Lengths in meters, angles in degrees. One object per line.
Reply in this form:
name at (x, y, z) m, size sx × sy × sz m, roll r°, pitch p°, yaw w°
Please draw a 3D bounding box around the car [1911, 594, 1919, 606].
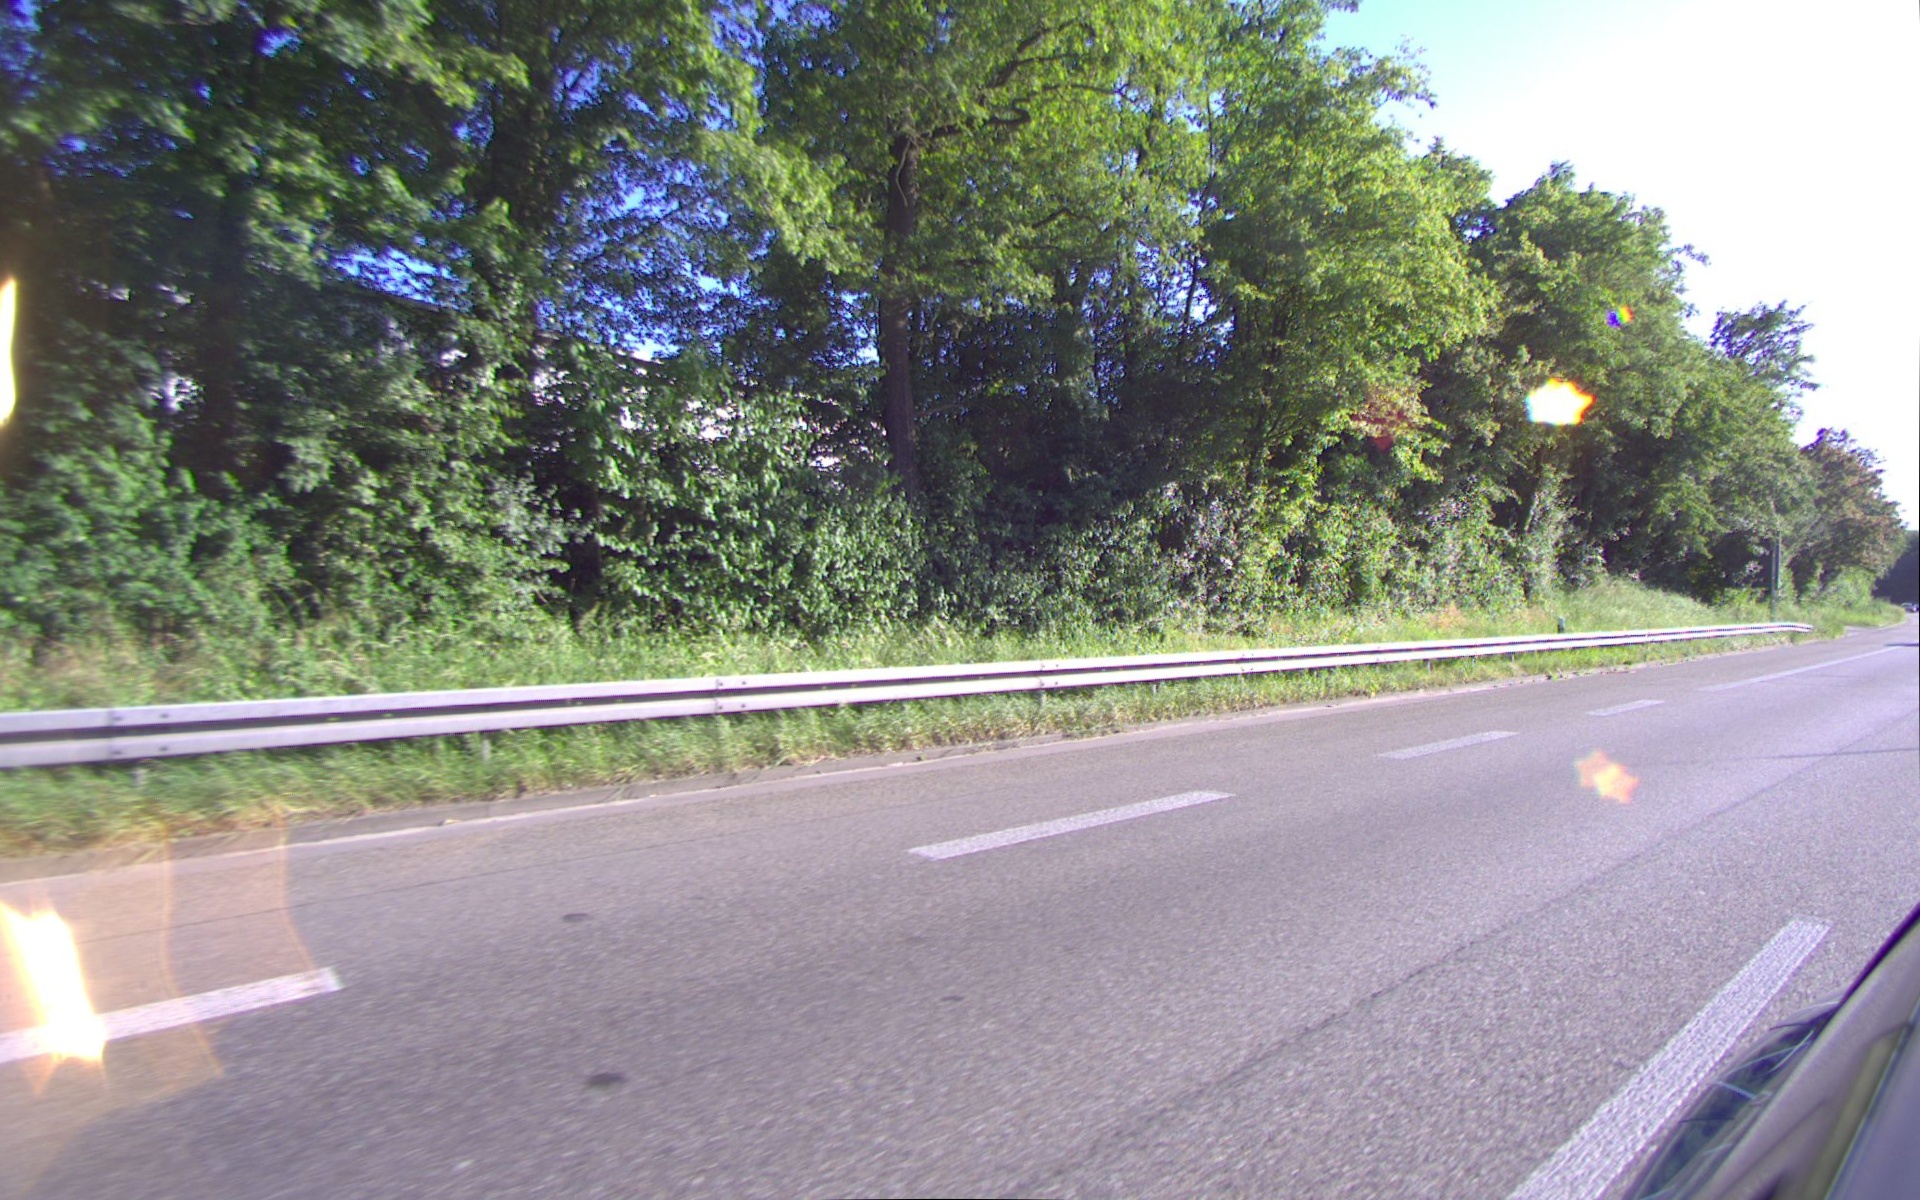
car at (159.279, 0.002, 167.680) m, size 1.989 × 2.039 × 3.946 m, roll 1°, pitch 1°, yaw 37°
